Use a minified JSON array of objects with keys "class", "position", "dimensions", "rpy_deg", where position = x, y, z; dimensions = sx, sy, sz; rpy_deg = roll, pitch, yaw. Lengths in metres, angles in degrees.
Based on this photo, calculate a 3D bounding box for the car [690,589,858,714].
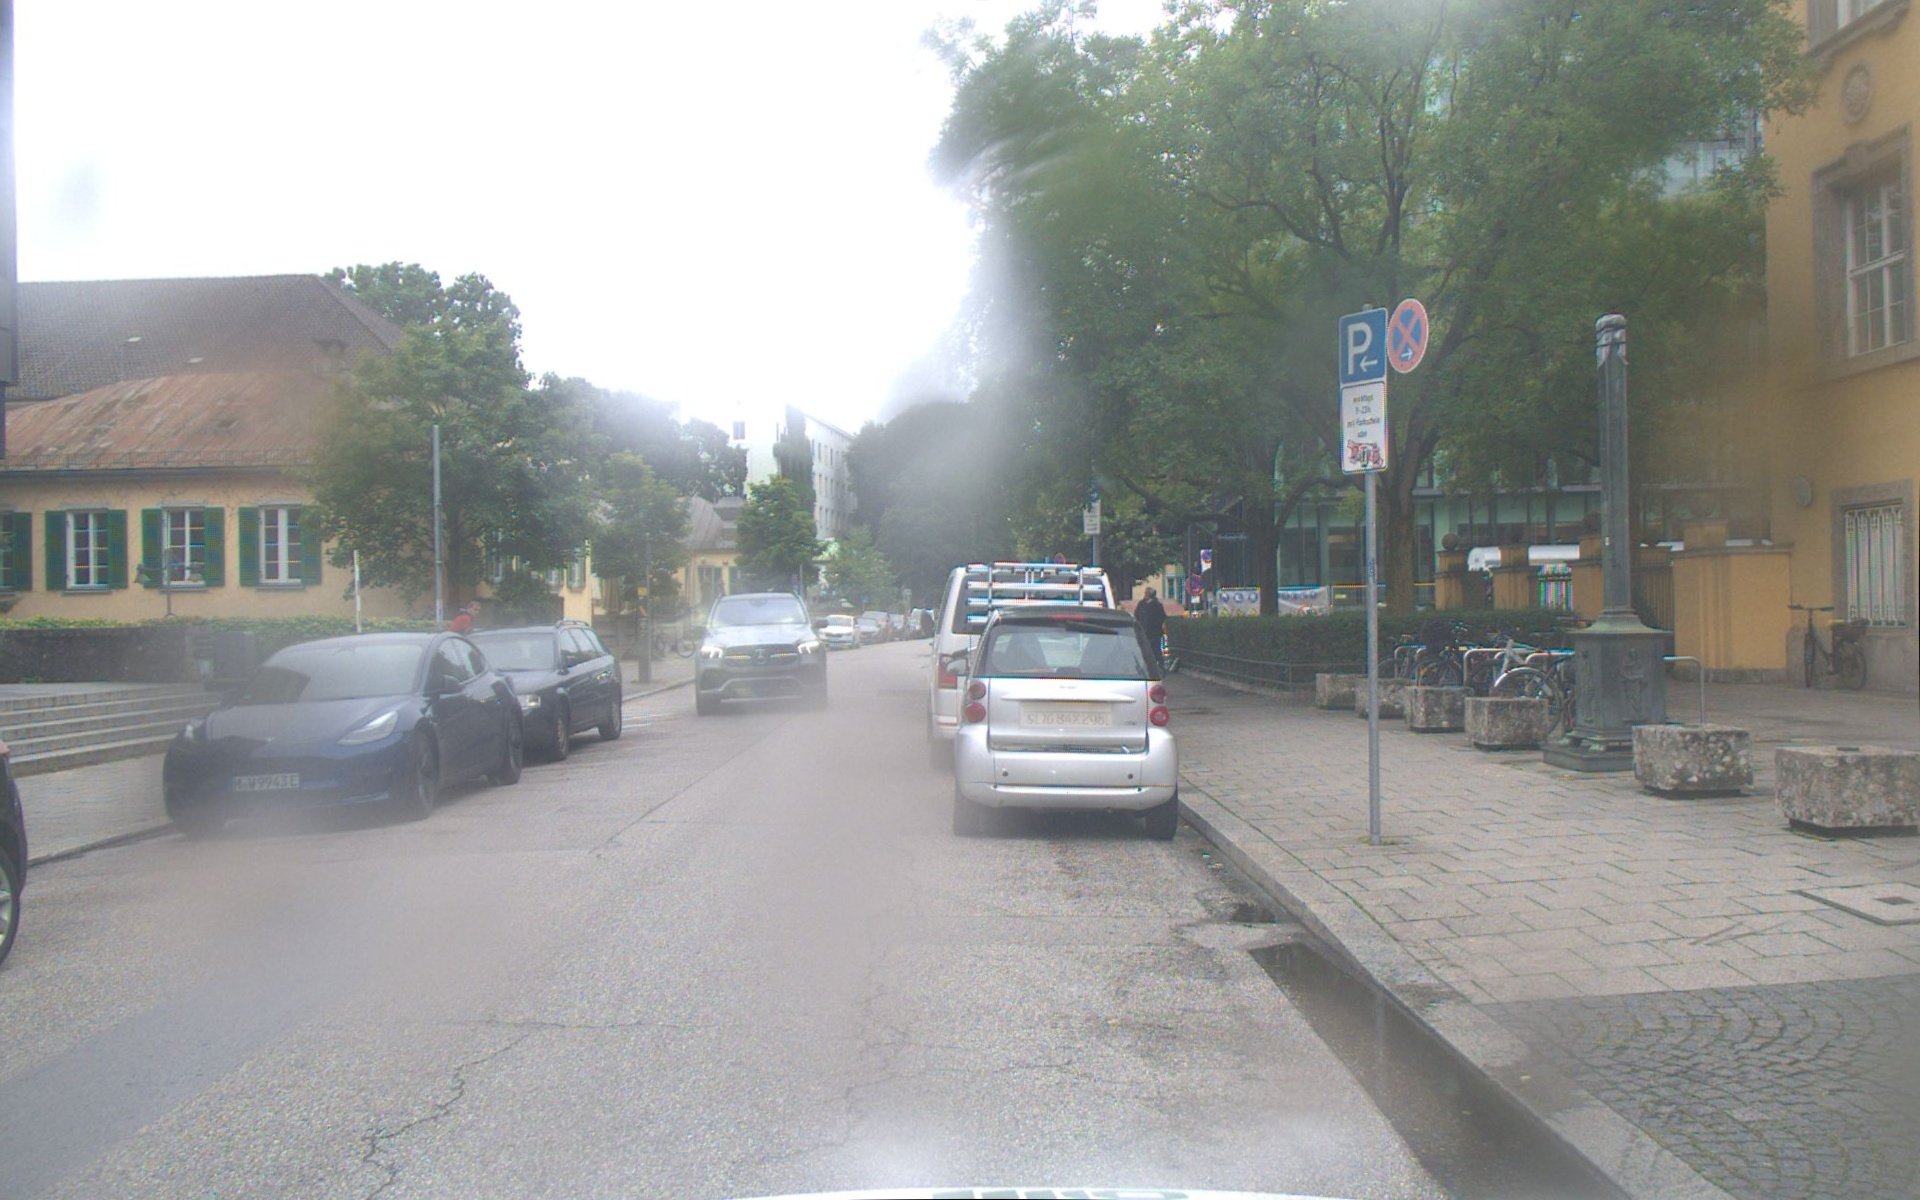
[{"class":"car","position":[-2.791,0.739,25.883],"dimensions":[1.983,1.719,4.677],"rpy_deg":[-2,0,1]}]

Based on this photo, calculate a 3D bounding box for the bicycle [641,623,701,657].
[{"class":"bicycle","position":[-9.738,1.352,55.724],"dimensions":[1.890,1.118,0.615],"rpy_deg":[1,-1,2]}]

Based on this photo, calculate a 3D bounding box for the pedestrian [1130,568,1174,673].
[{"class":"pedestrian","position":[4.056,0.436,35.061],"dimensions":[0.727,2.172,1.055],"rpy_deg":[-2,-1,-1]}]

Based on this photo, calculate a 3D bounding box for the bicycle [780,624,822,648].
[{"class":"bicycle","position":[-6.776,1.532,70.639],"dimensions":[0.610,1.022,2.134],"rpy_deg":[1,0,32]}]

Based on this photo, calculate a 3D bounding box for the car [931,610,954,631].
[{"class":"car","position":[-1.498,1.726,142.060],"dimensions":[1.773,1.712,4.001],"rpy_deg":[-1,0,2]}]

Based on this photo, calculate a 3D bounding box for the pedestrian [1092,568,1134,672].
[{"class":"pedestrian","position":[3.267,0.420,35.385],"dimensions":[0.727,2.172,1.055],"rpy_deg":[-2,-1,-1]}]

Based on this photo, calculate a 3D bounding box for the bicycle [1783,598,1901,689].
[{"class":"bicycle","position":[12.057,0.572,22.683],"dimensions":[0.531,1.174,1.901],"rpy_deg":[-2,0,-2]}]

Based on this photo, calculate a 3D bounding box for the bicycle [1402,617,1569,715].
[{"class":"bicycle","position":[6.525,0.813,20.579],"dimensions":[1.891,1.133,0.471],"rpy_deg":[-2,-1,1]}]

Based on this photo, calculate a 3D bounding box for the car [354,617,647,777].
[{"class":"car","position":[-5.128,1.012,19.235],"dimensions":[1.953,1.517,4.883],"rpy_deg":[-3,-1,0]}]

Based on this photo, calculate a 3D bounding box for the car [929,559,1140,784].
[{"class":"car","position":[0.621,0.662,17.493],"dimensions":[1.808,1.967,5.271],"rpy_deg":[2,0,-2]}]

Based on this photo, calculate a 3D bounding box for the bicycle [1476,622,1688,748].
[{"class":"bicycle","position":[6.128,0.829,16.312],"dimensions":[1.893,1.133,0.471],"rpy_deg":[-2,-1,-4]}]

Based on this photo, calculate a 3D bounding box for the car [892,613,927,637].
[{"class":"car","position":[-3.347,1.629,110.702],"dimensions":[1.952,1.512,4.002],"rpy_deg":[-1,0,4]}]

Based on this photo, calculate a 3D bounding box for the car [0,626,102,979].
[{"class":"car","position":[-4.964,0.903,5.678],"dimensions":[1.704,1.486,4.237],"rpy_deg":[-3,0,1]}]

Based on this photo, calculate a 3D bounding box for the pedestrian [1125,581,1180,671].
[{"class":"pedestrian","position":[4.219,0.559,36.274],"dimensions":[0.729,1.941,1.052],"rpy_deg":[-2,-1,35]}]

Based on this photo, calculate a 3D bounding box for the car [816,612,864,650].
[{"class":"car","position":[-5.423,1.382,75.165],"dimensions":[1.697,1.609,3.788],"rpy_deg":[2,0,3]}]

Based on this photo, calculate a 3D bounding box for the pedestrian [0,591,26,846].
[{"class":"pedestrian","position":[-7.129,0.837,11.657],"dimensions":[0.741,1.780,0.948],"rpy_deg":[-1,-1,-16]}]

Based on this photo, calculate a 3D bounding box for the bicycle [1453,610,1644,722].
[{"class":"bicycle","position":[6.484,0.721,18.272],"dimensions":[1.891,1.133,0.471],"rpy_deg":[-2,-1,1]}]

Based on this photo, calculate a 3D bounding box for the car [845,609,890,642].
[{"class":"car","position":[-4.872,1.347,87.759],"dimensions":[1.952,1.677,4.656],"rpy_deg":[-1,0,2]}]

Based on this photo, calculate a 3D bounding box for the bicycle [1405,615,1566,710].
[{"class":"bicycle","position":[6.781,0.804,21.373],"dimensions":[1.892,1.133,0.471],"rpy_deg":[-2,-1,1]}]

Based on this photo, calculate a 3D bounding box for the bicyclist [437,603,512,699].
[{"class":"bicyclist","position":[-7.843,0.819,26.699],"dimensions":[1.077,1.524,0.669],"rpy_deg":[0,-2,-24]}]

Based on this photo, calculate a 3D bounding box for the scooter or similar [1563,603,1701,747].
[{"class":"scooter or similar","position":[6.100,0.671,15.022],"dimensions":[0.995,1.243,0.534],"rpy_deg":[-3,-1,45]}]

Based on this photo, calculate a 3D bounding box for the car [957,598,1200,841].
[{"class":"car","position":[0.785,0.798,12.393],"dimensions":[1.573,1.573,2.933],"rpy_deg":[1,0,0]}]

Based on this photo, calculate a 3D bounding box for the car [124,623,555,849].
[{"class":"car","position":[-4.920,0.983,13.977],"dimensions":[1.884,1.464,4.915],"rpy_deg":[-3,-1,-2]}]

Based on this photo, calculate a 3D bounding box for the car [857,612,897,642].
[{"class":"car","position":[-4.623,1.520,92.842],"dimensions":[1.952,1.631,4.000],"rpy_deg":[-1,-1,1]}]
